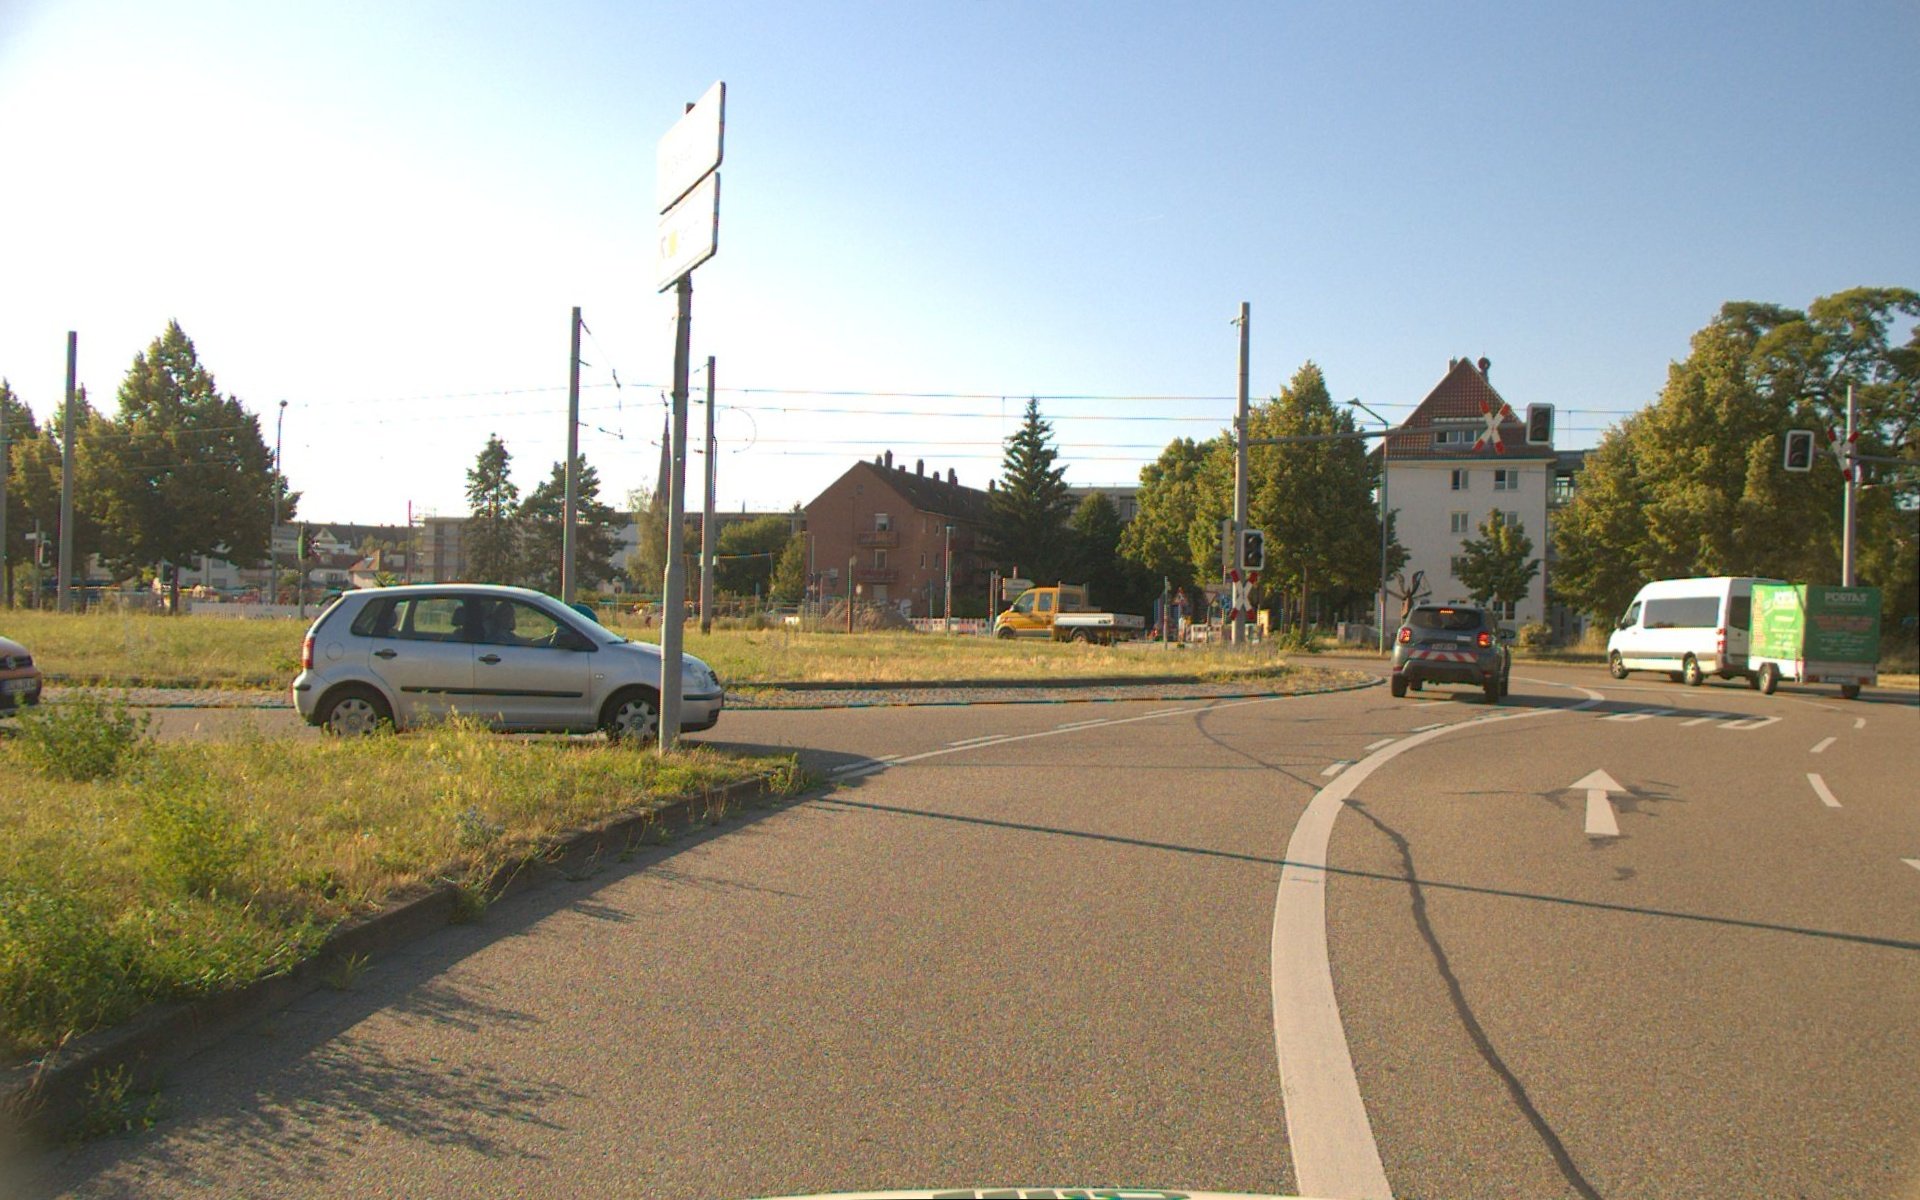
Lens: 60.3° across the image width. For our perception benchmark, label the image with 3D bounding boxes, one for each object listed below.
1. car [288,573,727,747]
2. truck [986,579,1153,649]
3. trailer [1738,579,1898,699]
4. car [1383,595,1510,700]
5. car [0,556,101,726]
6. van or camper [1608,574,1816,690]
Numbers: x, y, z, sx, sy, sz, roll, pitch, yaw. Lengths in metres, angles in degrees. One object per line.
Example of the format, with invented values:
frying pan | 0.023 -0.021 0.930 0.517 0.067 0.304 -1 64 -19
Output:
car | -4.050 0.542 15.377 3.676 1.460 1.832 1 -1 -8
truck | 4.181 0.516 63.869 6.136 2.603 2.575 1 -1 41
trailer | 18.969 0.855 36.740 2.045 2.442 3.503 3 -1 8
car | 8.642 0.821 29.172 1.866 1.689 4.000 1 -1 20
car | -10.328 0.320 14.993 4.041 1.470 1.909 1 -1 0
van or camper | 19.218 0.806 42.715 2.238 2.675 6.581 3 -1 -1
